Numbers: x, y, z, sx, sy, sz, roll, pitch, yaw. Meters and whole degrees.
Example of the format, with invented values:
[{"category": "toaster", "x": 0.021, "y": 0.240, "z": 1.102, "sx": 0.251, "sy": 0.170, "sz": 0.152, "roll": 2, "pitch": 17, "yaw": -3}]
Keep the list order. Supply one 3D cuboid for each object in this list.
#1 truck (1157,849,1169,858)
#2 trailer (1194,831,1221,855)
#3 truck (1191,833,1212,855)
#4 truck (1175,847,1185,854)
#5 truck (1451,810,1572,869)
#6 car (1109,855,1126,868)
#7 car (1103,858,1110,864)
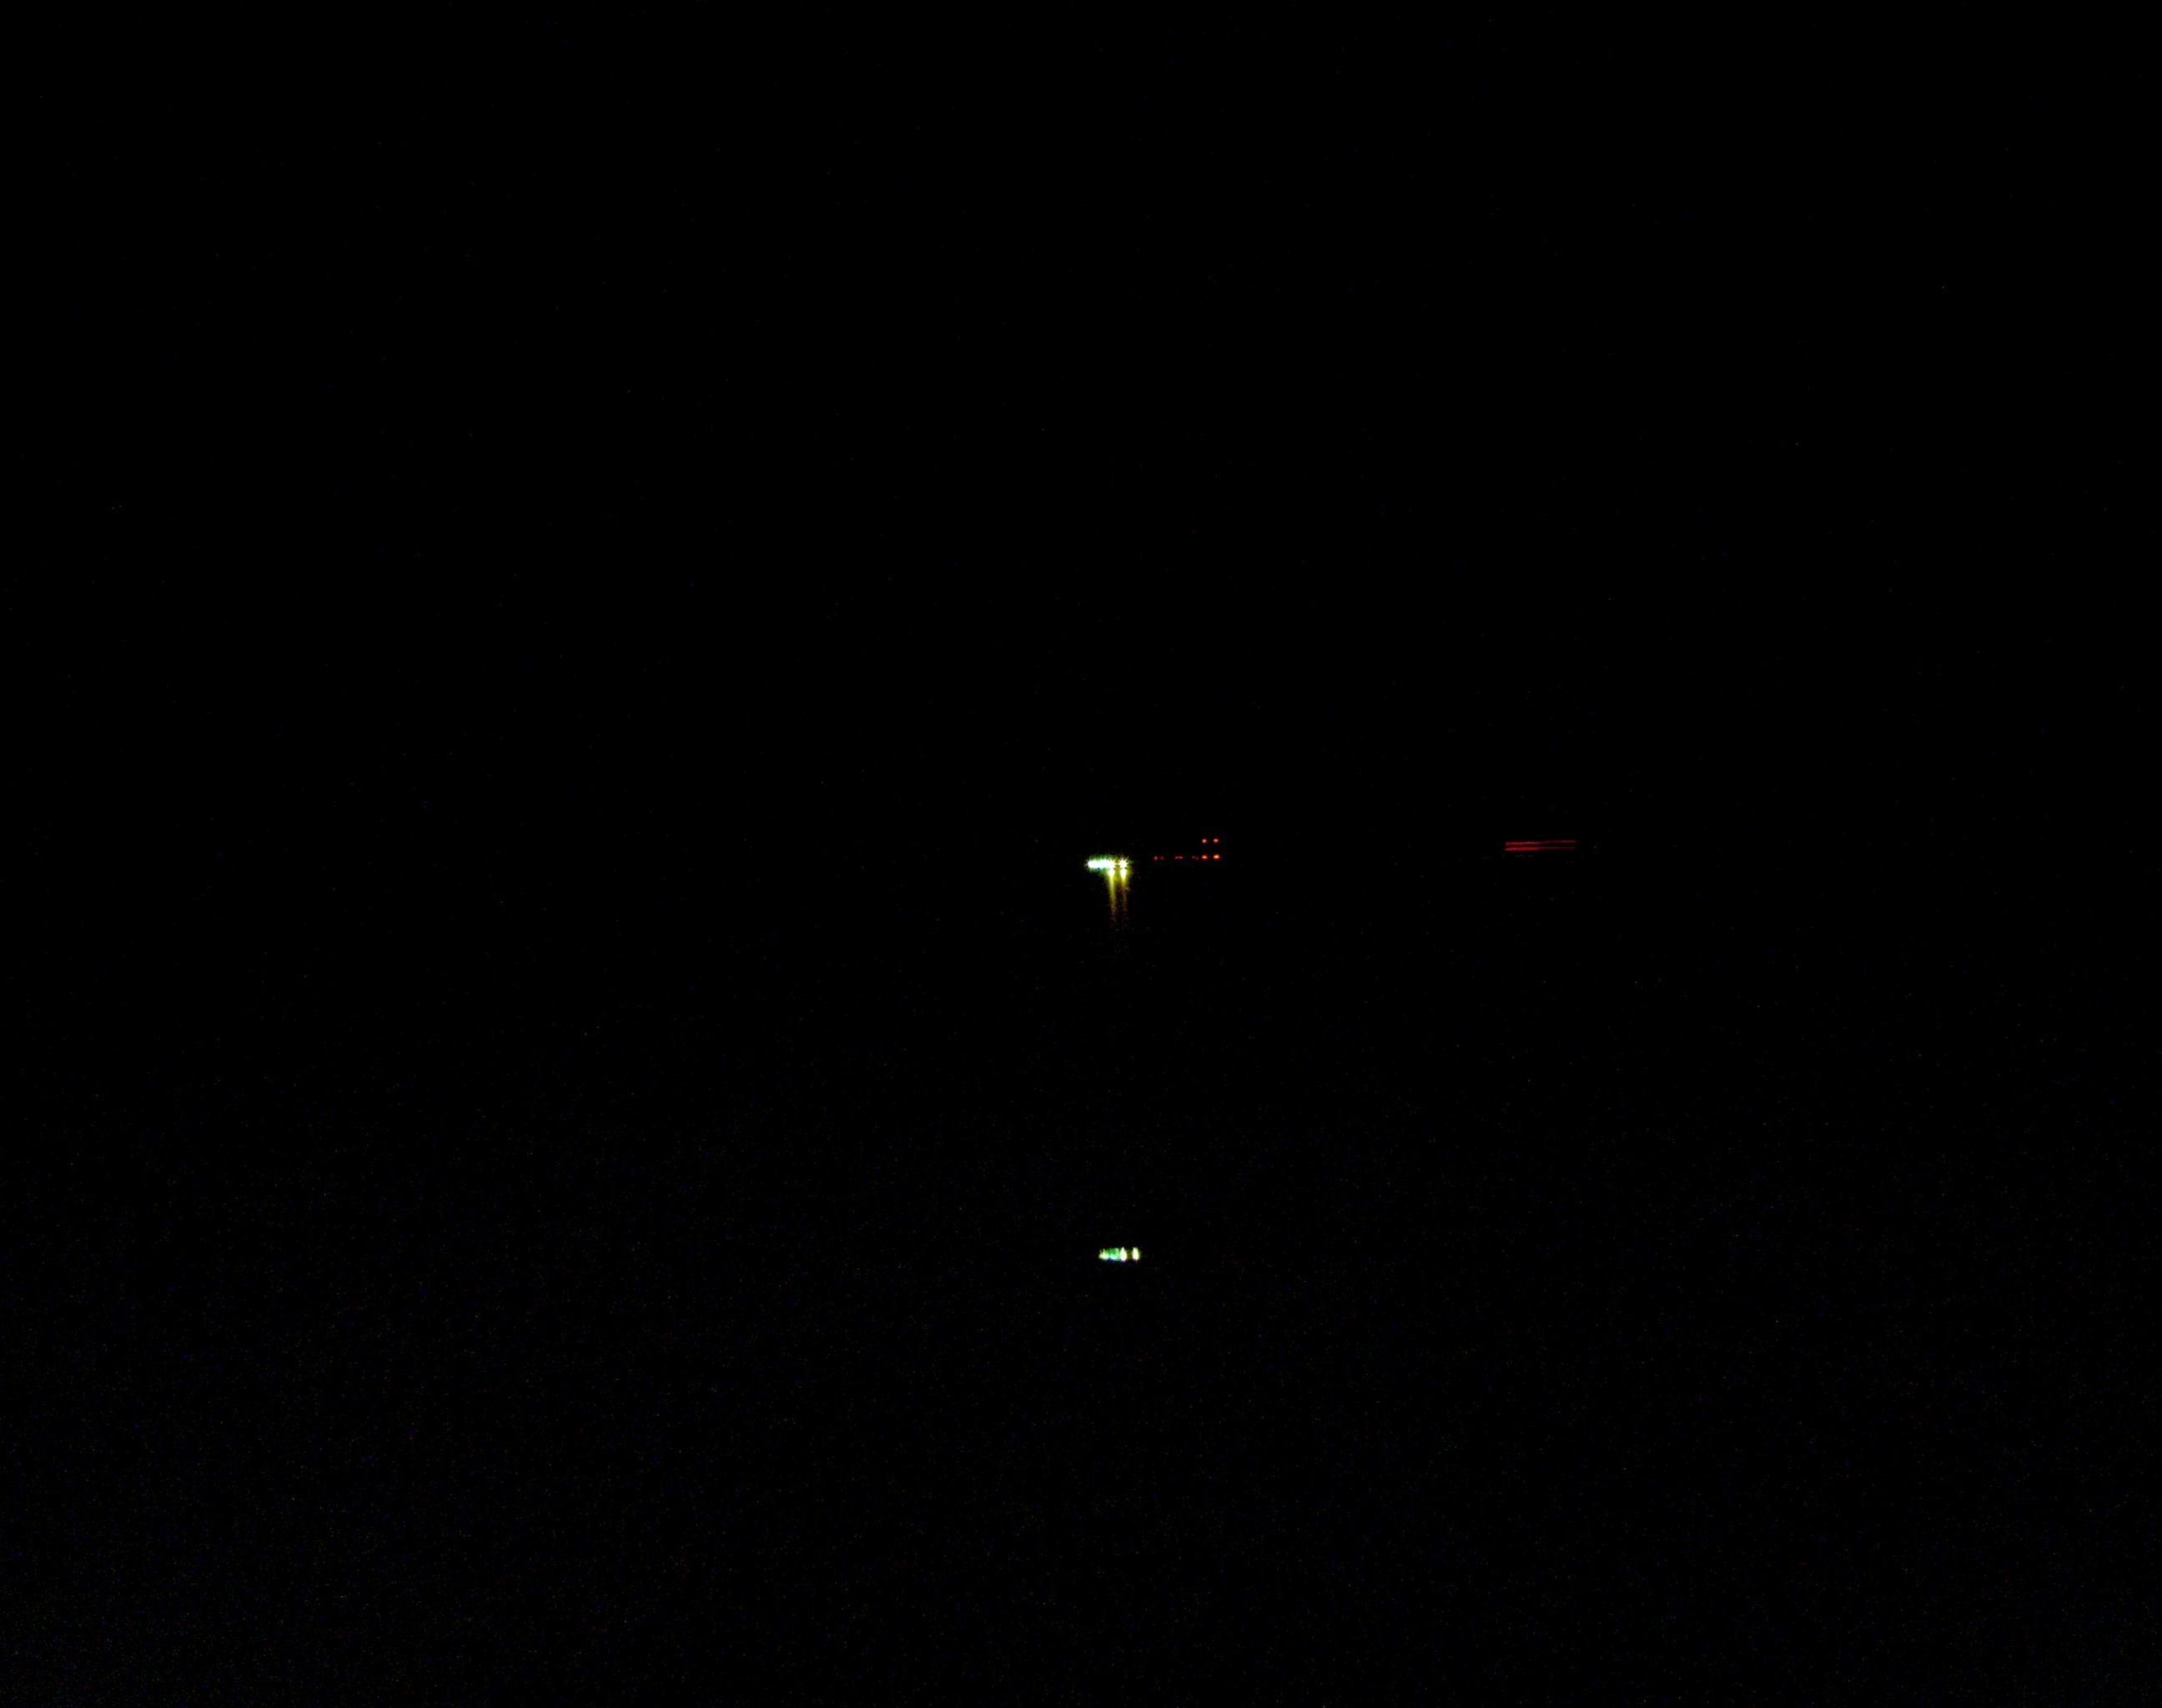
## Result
[{"category": "truck", "x": 24.607, "y": -0.186, "z": 228.323, "sx": 2.879, "sy": 2.626, "sz": 7.886, "roll": -4, "pitch": 0, "yaw": 1}, {"category": "trailer", "x": 25.543, "y": -2.064, "z": 154.254, "sx": 3.333, "sy": 4.407, "sz": 14.025, "roll": -3, "pitch": 0, "yaw": 1}, {"category": "truck", "x": 25.722, "y": -2.037, "z": 162.110, "sx": 3.333, "sy": 4.407, "sz": 6.708, "roll": -3, "pitch": 0, "yaw": 1}, {"category": "truck", "x": 25.869, "y": -0.978, "z": 198.739, "sx": 2.039, "sy": 1.746, "sz": 4.763, "roll": -2, "pitch": 0, "yaw": 1}, {"category": "truck", "x": 23.203, "y": -0.706, "z": 41.478, "sx": 2.202, "sy": 2.710, "sz": 7.625, "roll": -5, "pitch": 0, "yaw": 1}, {"category": "car", "x": 4.728, "y": 0.997, "z": 98.582, "sx": 1.998, "sy": 1.423, "sz": 4.330, "roll": -5, "pitch": 0, "yaw": 1}, {"category": "car", "x": 8.180, "y": 2.271, "z": 241.297, "sx": 1.999, "sy": 1.725, "sz": 4.220, "roll": 0, "pitch": 4, "yaw": -2}]
